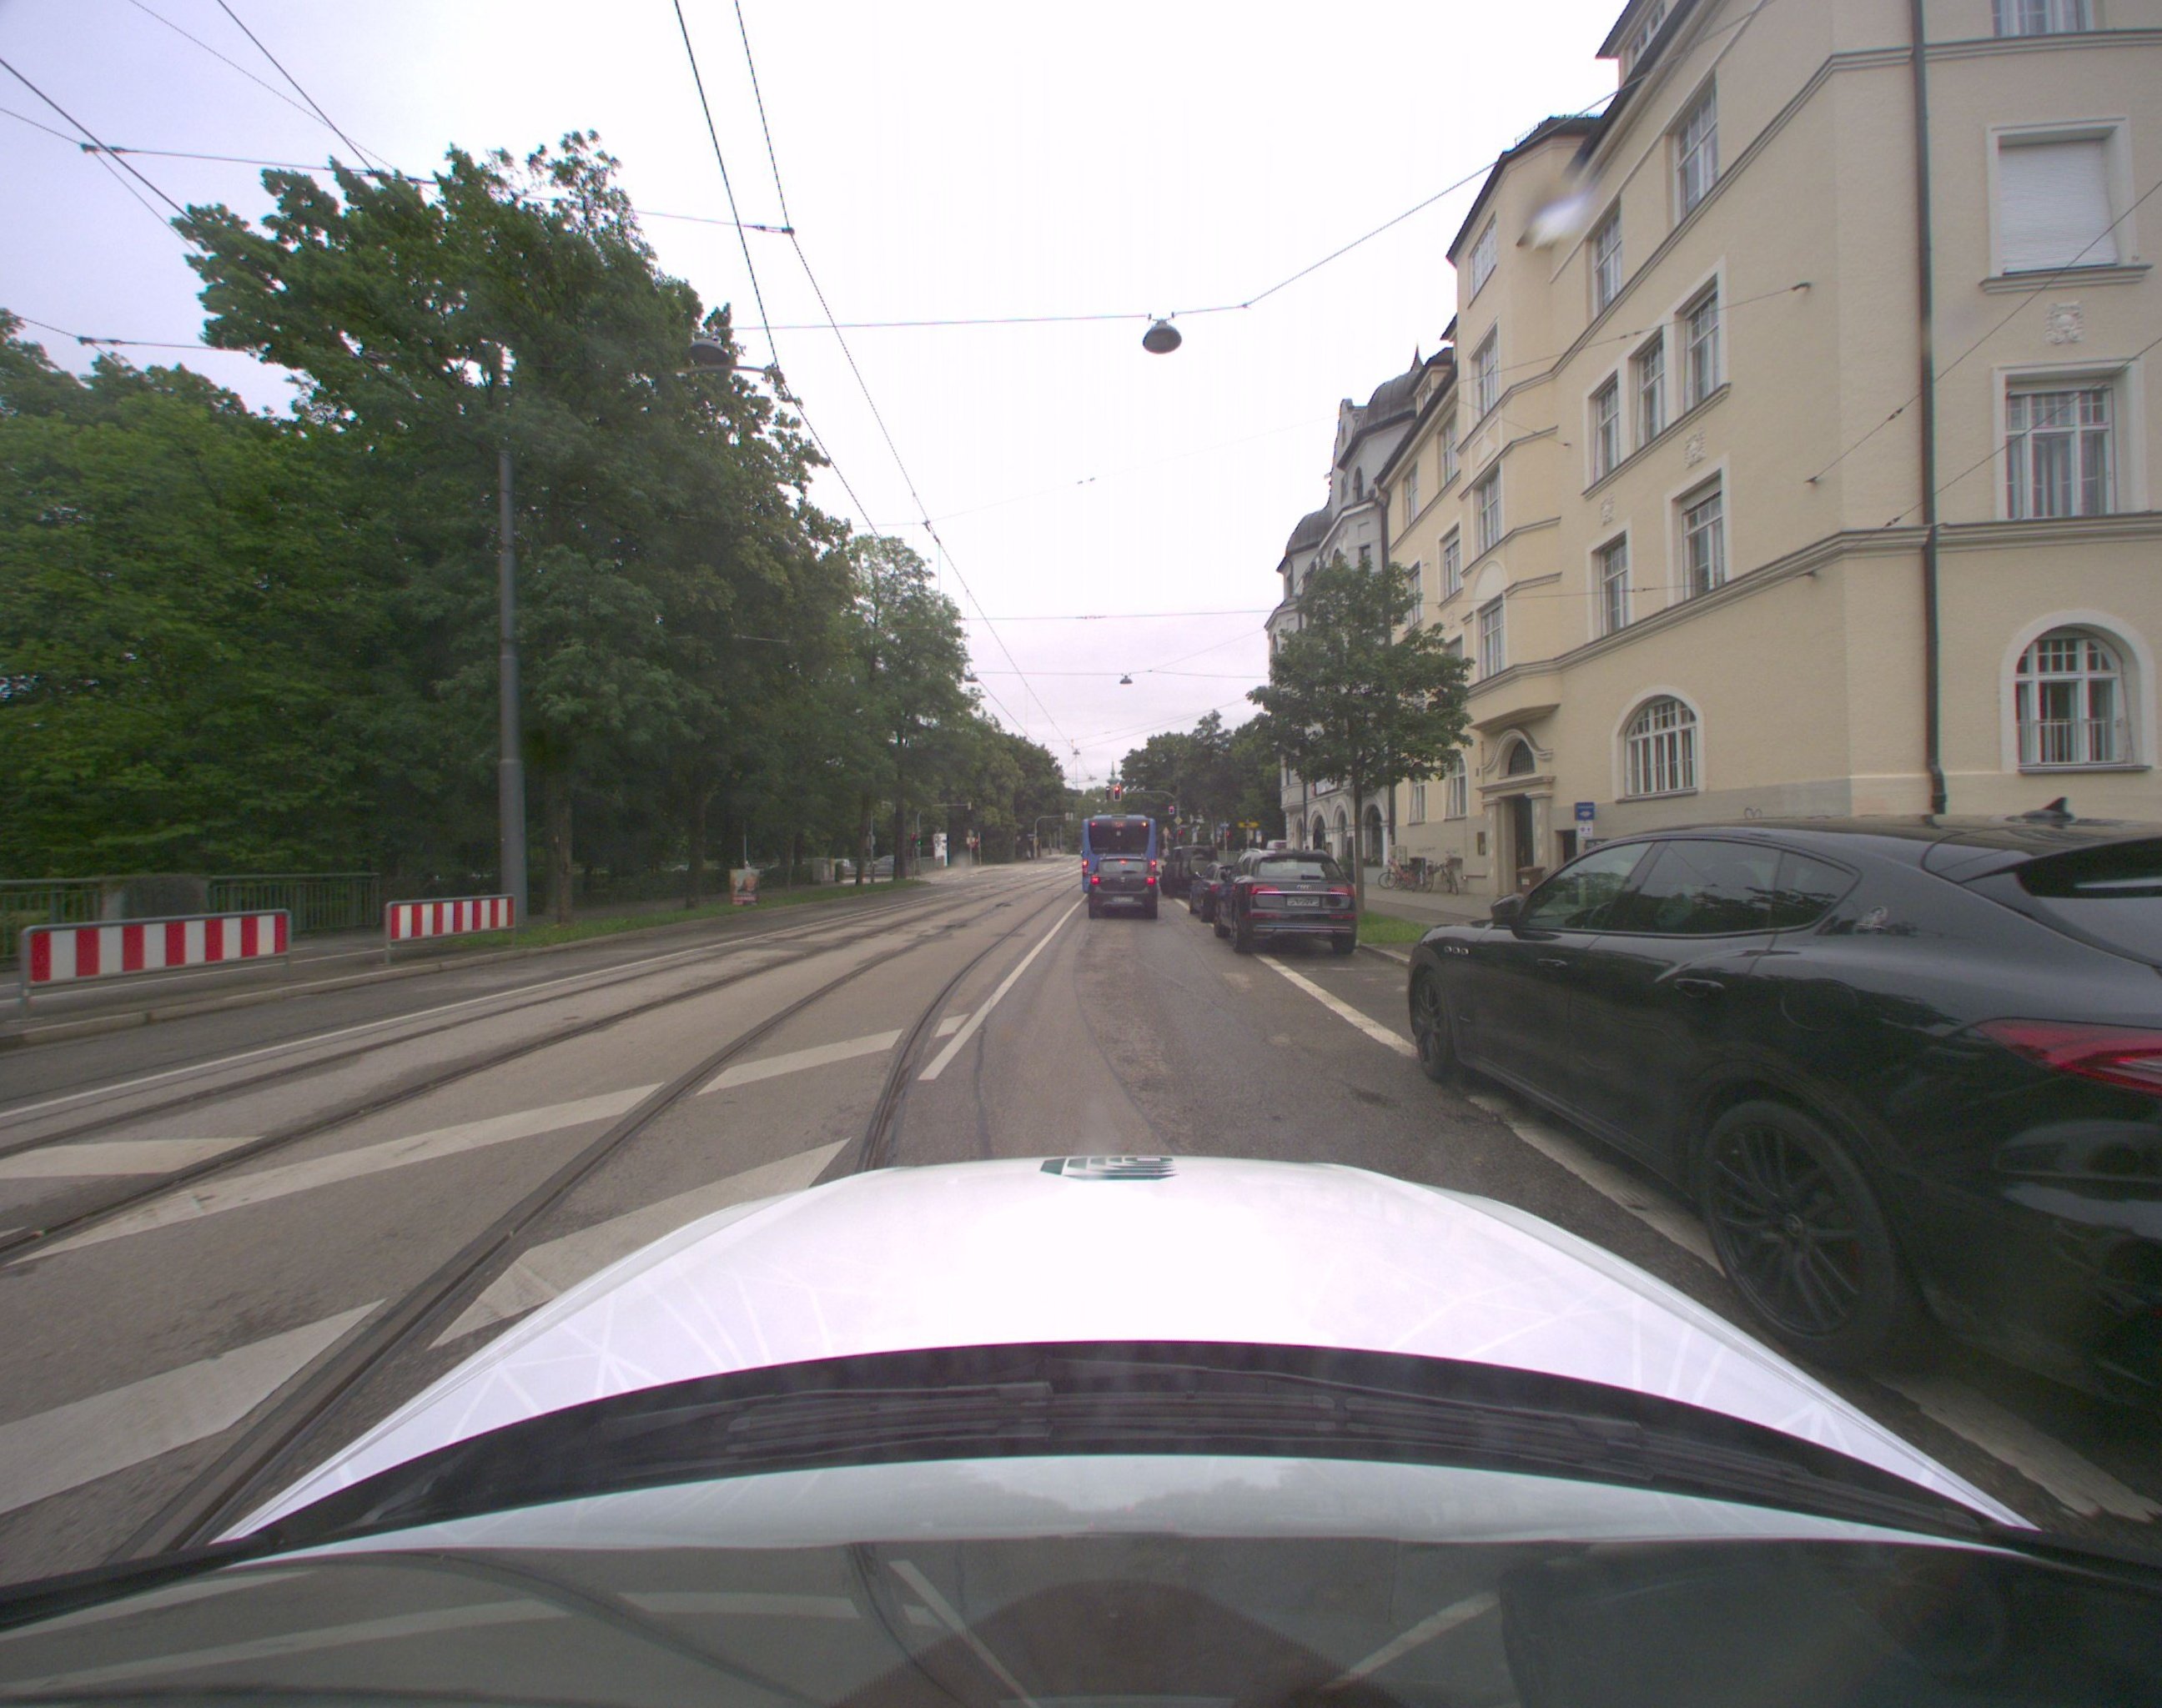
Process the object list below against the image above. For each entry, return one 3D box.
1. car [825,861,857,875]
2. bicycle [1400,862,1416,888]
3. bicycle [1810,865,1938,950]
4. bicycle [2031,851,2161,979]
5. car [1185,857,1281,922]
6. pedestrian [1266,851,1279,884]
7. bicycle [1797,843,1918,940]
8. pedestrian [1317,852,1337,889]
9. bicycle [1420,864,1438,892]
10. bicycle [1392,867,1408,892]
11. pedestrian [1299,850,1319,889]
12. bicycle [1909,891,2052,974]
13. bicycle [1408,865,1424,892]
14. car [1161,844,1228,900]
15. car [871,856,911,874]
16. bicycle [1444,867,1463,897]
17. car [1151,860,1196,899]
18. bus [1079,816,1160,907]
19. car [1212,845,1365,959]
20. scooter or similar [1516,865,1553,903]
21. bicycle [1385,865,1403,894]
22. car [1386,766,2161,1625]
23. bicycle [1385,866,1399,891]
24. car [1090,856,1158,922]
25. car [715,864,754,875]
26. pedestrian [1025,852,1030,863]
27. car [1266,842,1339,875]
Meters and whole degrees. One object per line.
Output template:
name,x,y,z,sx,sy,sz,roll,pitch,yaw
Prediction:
car,-26.084,1.492,88.522,3.102,1.452,1.249,1,-1,-3
bicycle,11.995,0.767,29.860,0.304,0.930,0.887,1,-1,4
bicycle,11.125,0.716,11.481,0.286,1.106,1.440,0,-1,-4
bicycle,10.992,0.620,8.540,0.281,1.282,1.406,1,-1,-9
car,3.662,0.808,20.353,1.709,1.426,4.604,1,-1,2
pedestrian,11.778,0.815,50.001,0.669,2.014,0.717,1,-1,5
bicycle,11.244,0.516,11.851,0.331,1.312,1.537,1,-1,1
pedestrian,11.506,0.775,38.092,0.702,1.732,0.843,1,-1,2
bicycle,11.765,0.819,27.558,0.284,0.930,0.886,1,-1,4
bicycle,12.071,0.953,30.816,0.289,0.930,0.886,1,-1,4
pedestrian,10.684,0.722,38.147,0.702,1.816,0.870,1,-1,2
bicycle,11.164,0.948,10.147,0.249,0.935,1.136,-3,-1,-18
bicycle,11.887,0.853,28.891,0.271,0.930,0.886,1,-1,4
car,4.207,0.658,30.833,1.907,1.906,4.808,1,-1,1
car,-20.676,1.212,88.817,4.014,1.887,1.488,1,-1,-4
bicycle,11.725,0.877,25.659,0.220,0.930,0.886,1,-1,2
car,4.041,1.092,36.139,1.707,1.591,4.330,1,-1,3
bus,1.360,0.289,30.833,2.669,2.997,6.961,1,-1,1
car,3.403,0.728,14.197,1.767,1.658,4.491,0,-1,3
scooter or similar,11.607,0.760,20.841,0.658,0.946,0.547,1,-1,4
bicycle,11.620,0.938,30.243,0.241,1.039,1.224,1,-1,3
car,3.108,0.649,3.733,1.893,1.610,4.669,1,0,3
bicycle,12.115,0.952,31.753,0.258,0.930,0.886,1,-1,4
car,1.088,0.859,21.189,1.594,1.556,3.527,1,-1,2
car,-37.411,1.661,87.960,3.719,1.185,1.249,1,-1,-3
pedestrian,-7.026,0.434,106.345,0.529,1.501,0.589,1,-1,7
car,17.753,0.368,65.409,5.279,2.613,2.230,1,-1,-1
